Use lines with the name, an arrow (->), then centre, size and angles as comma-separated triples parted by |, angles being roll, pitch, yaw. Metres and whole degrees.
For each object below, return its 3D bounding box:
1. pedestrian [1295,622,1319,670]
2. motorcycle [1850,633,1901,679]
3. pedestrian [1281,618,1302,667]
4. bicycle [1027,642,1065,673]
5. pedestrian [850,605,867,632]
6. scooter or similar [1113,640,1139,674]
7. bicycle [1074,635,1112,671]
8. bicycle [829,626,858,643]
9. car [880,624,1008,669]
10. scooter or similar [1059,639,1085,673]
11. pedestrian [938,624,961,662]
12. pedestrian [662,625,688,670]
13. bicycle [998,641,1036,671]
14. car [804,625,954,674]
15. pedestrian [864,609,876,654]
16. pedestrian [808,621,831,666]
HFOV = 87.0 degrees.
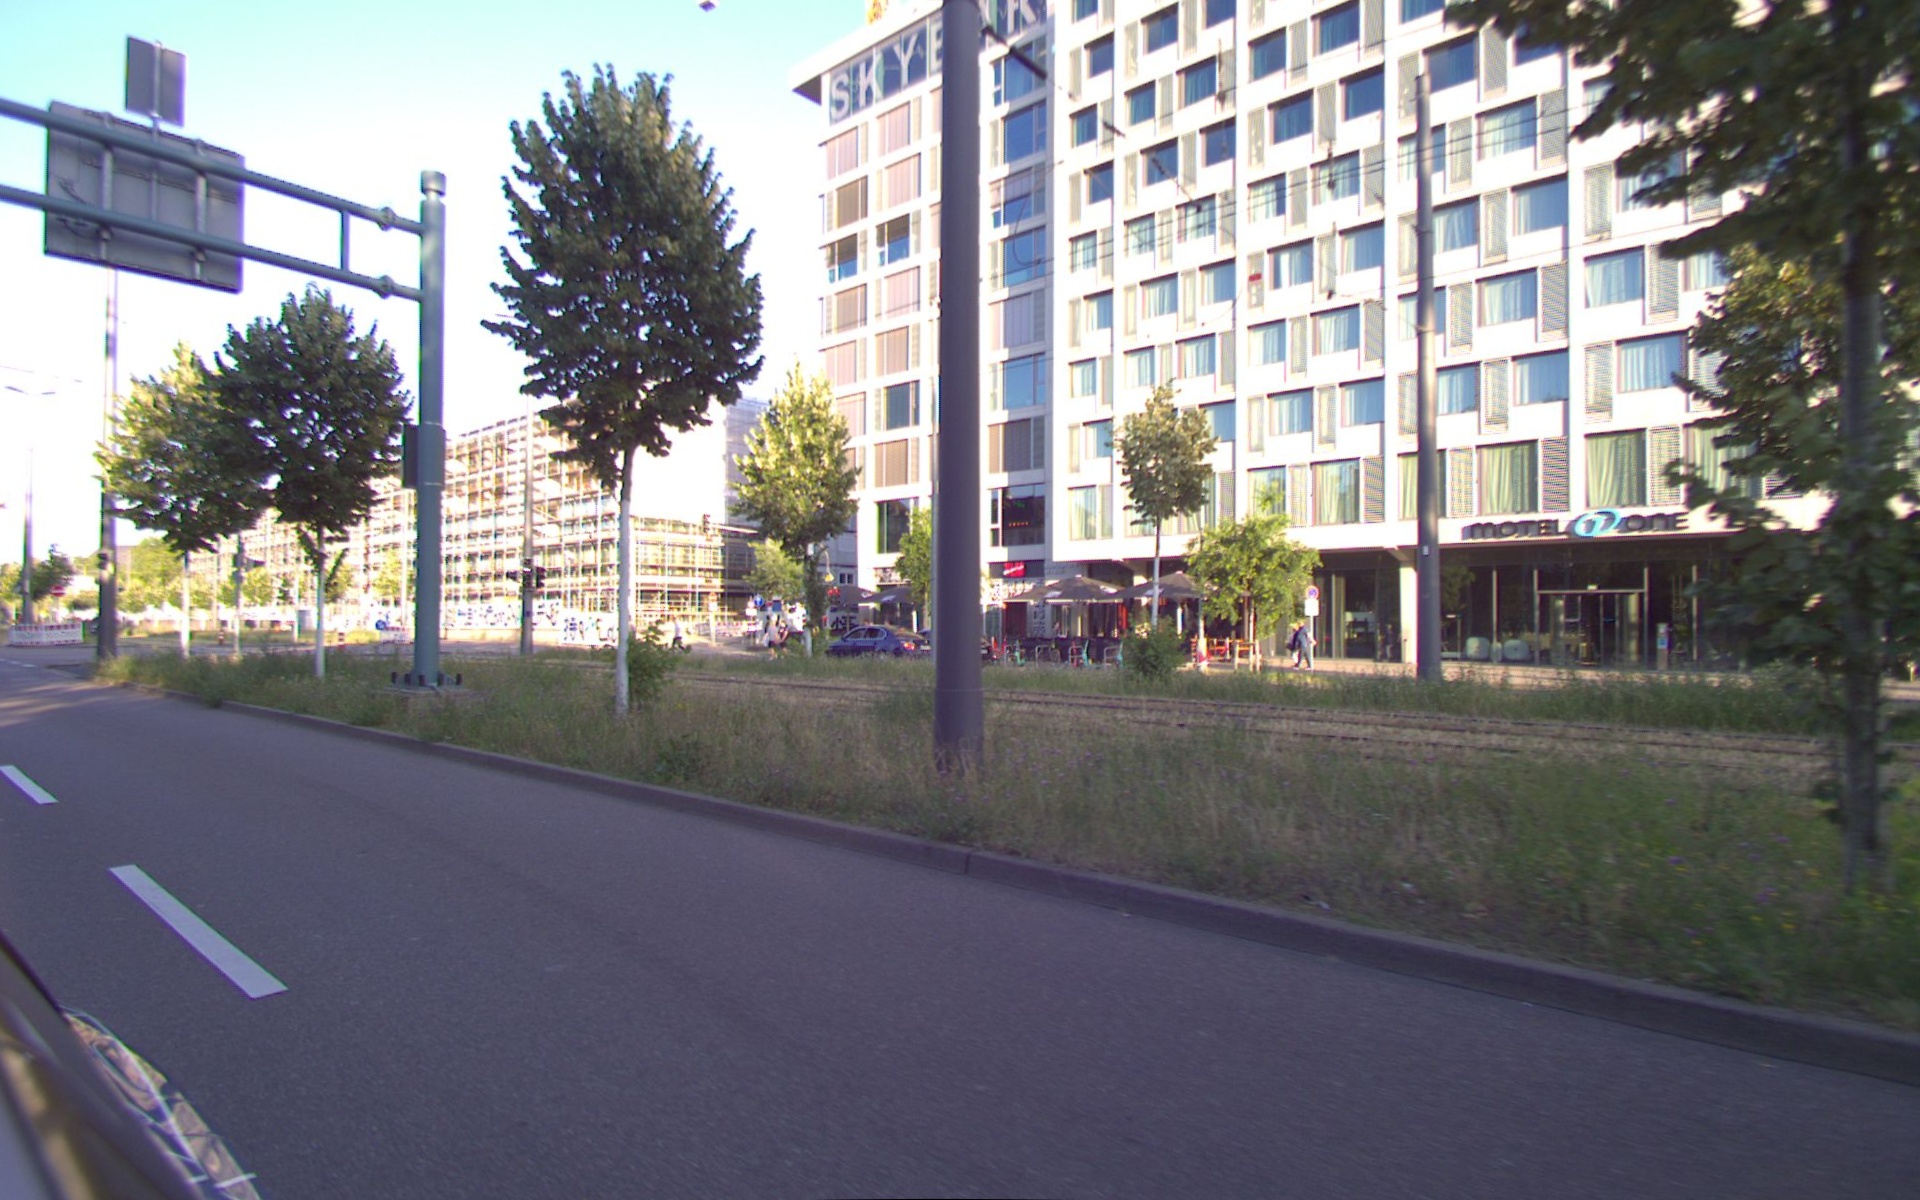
pedestrian -> 11.879, 1.580, 34.670 | 0.603, 1.612, 0.491 | -1, 0, 43
motorcycle -> 25.123, 1.510, 27.796 | 0.513, 1.180, 1.881 | -1, -1, 26
pedestrian -> 11.533, 1.470, 35.200 | 0.516, 1.669, 0.424 | -1, 0, 43
bicycle -> 3.240, 2.127, 37.887 | 0.442, 1.067, 1.890 | -1, -1, 38
pedestrian -> -5.611, 1.049, 56.029 | 0.772, 1.473, 0.597 | -2, -3, 41
scooter or similar -> 5.887, 2.005, 35.904 | 0.338, 1.172, 1.169 | -1, -2, 42
bicycle -> 4.834, 1.908, 36.709 | 0.442, 1.208, 1.890 | -1, -1, 38
bicycle -> -6.599, 1.950, 57.304 | 1.977, 0.881, 0.389 | -4, -2, 40
car -> -0.604, 1.542, 34.610 | 4.221, 1.451, 1.866 | -1, -2, 40
scooter or similar -> 4.098, 2.045, 37.013 | 0.338, 1.227, 1.169 | -1, -2, 42
pedestrian -> -0.458, 1.880, 44.601 | 0.707, 1.616, 0.673 | -1, 0, 34
pedestrian -> -12.072, 2.006, 42.868 | 0.762, 1.850, 0.699 | -1, 0, 40
bicycle -> 2.189, 2.125, 38.675 | 0.442, 1.067, 1.890 | -1, -1, 38
car -> -2.659, 1.565, 32.513 | 4.799, 1.452, 1.994 | -1, -4, 41
pedestrian -> -4.078, 1.419, 45.713 | 0.494, 2.029, 0.552 | 0, -2, -7
pedestrian -> -6.149, 1.888, 44.218 | 0.708, 1.938, 0.671 | -1, 0, 43
